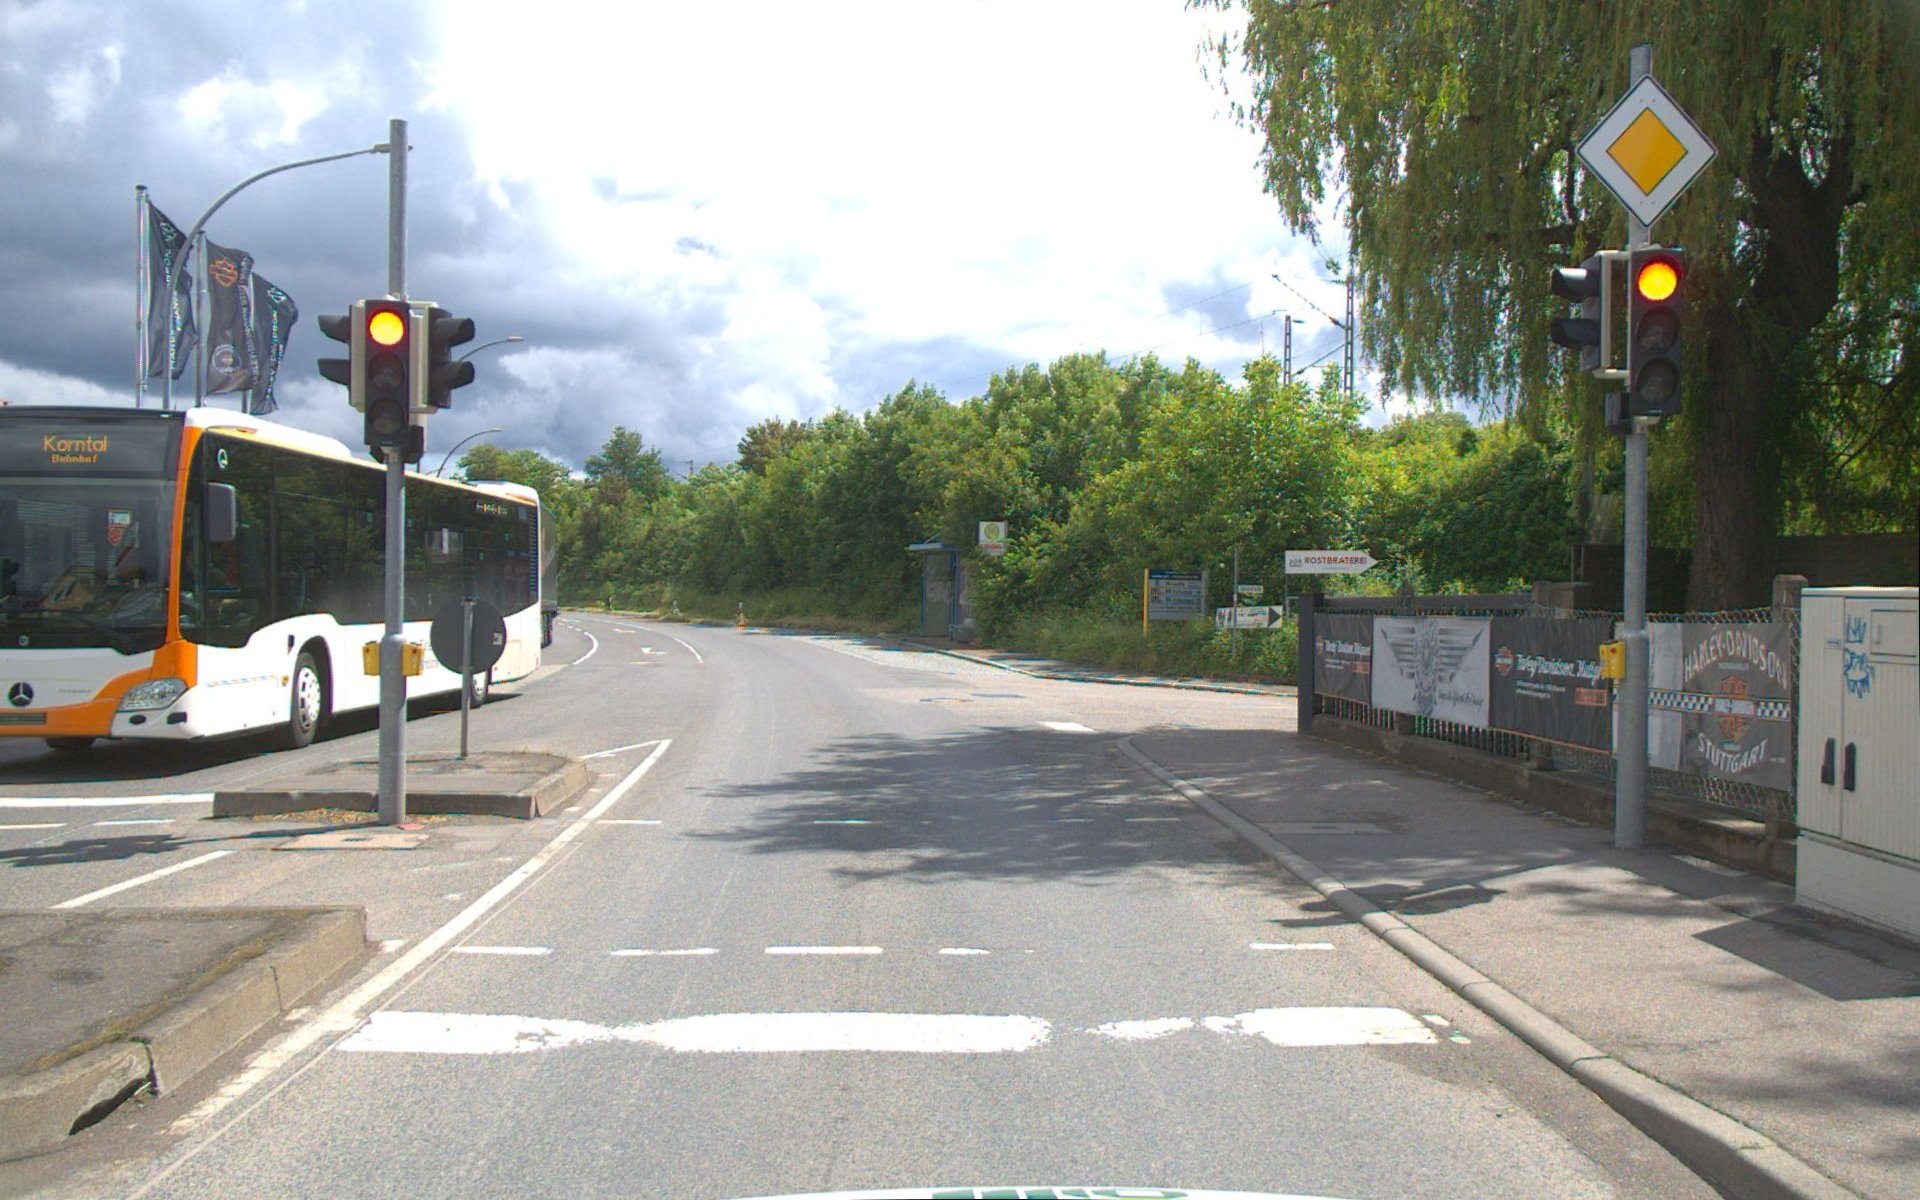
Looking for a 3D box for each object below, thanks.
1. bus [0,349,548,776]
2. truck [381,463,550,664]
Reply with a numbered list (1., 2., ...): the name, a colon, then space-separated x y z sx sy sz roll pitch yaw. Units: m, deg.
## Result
1. bus: -7.505 -0.282 18.949 2.721 3.323 12.120 0 0 -1
2. truck: -11.720 -0.767 40.001 2.383 4.203 9.133 3 0 -8
